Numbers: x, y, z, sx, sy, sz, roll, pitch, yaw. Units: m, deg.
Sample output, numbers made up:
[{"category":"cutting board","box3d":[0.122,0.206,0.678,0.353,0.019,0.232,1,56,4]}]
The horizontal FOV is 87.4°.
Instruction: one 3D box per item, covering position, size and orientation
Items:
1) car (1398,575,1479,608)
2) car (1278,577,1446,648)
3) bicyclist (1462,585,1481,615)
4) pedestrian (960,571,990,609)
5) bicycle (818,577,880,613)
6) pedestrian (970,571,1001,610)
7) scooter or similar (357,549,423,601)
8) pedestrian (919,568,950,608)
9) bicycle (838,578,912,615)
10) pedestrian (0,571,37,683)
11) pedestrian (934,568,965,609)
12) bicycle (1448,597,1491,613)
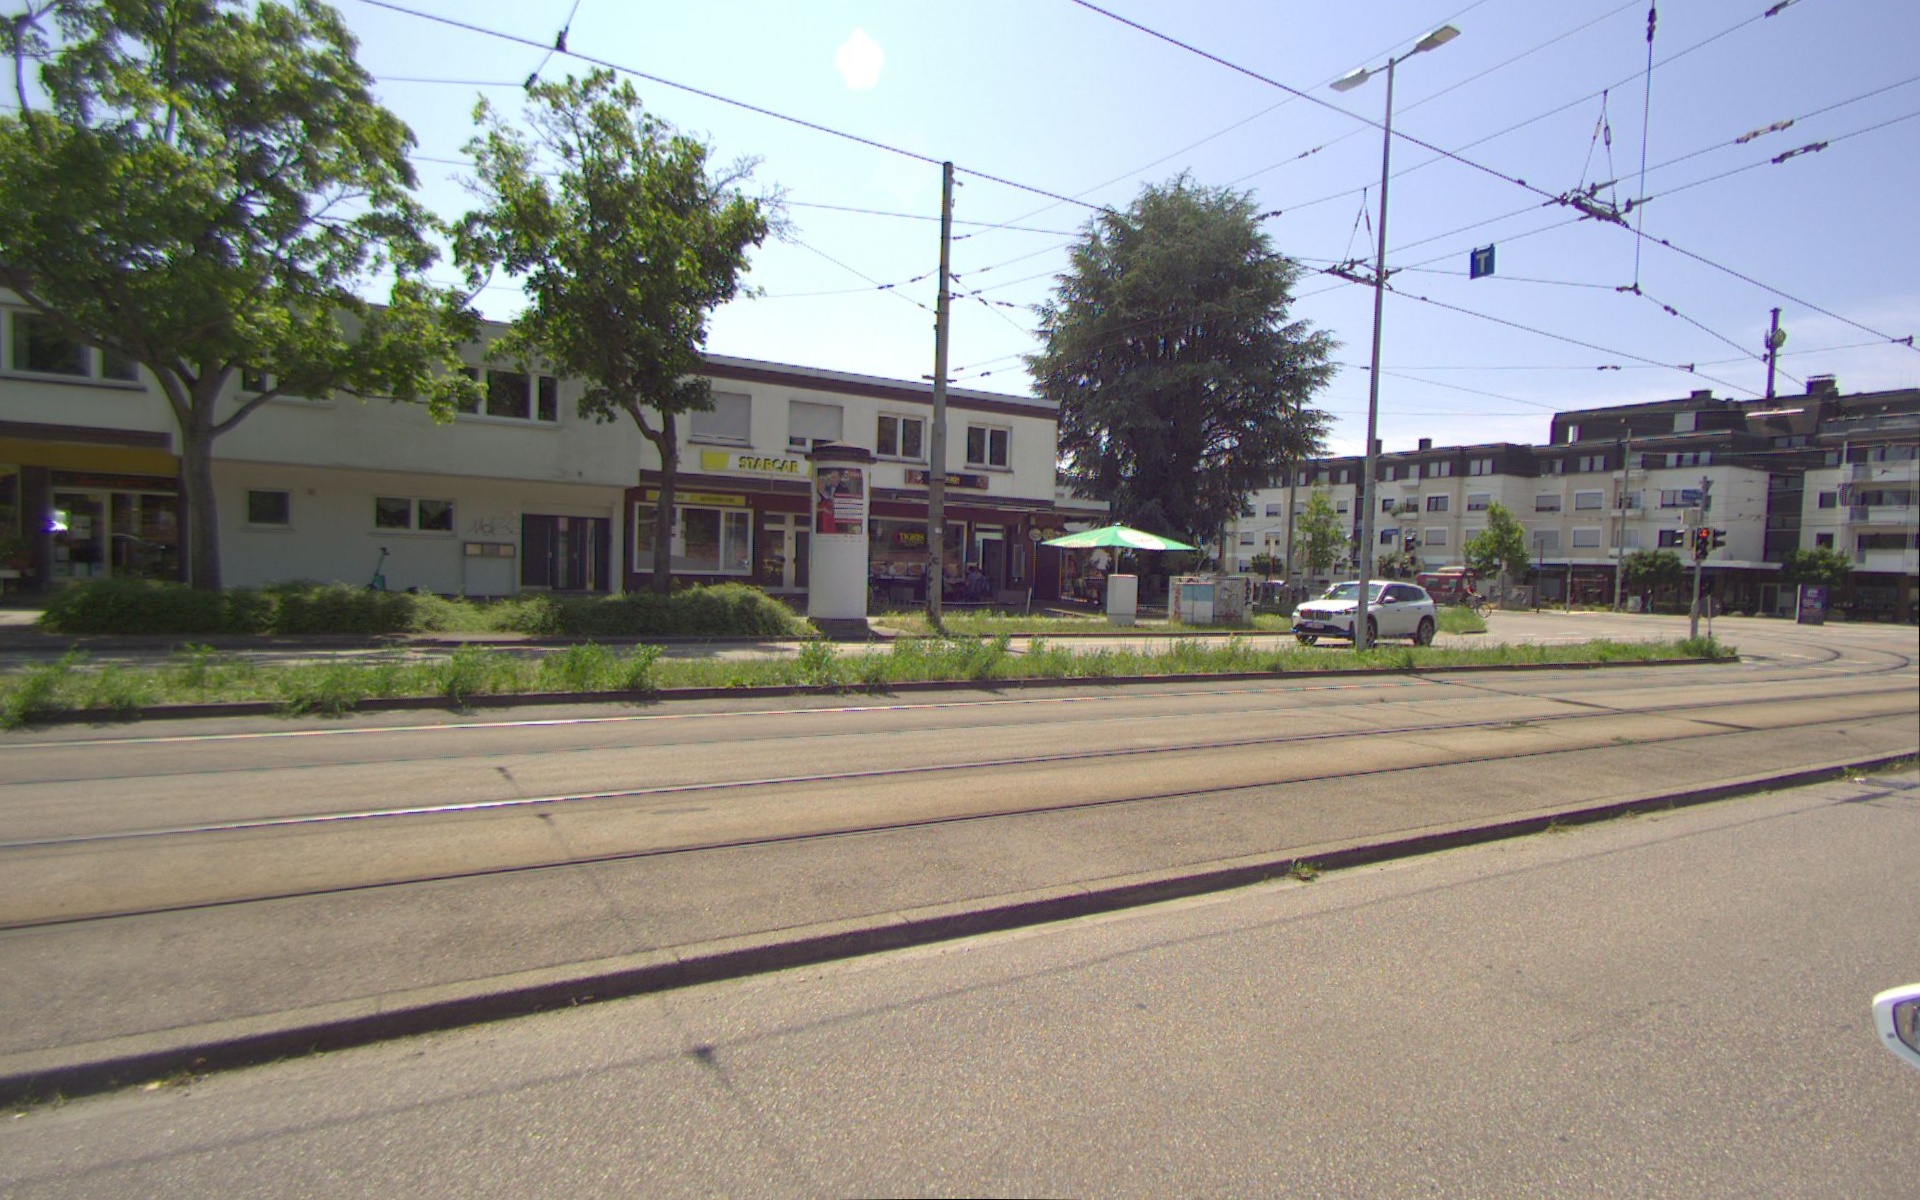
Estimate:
[{"category":"car","box3d":[35.758,-0.663,75.206,2.219,2.372,5.038,2,0,-31]},{"category":"car","box3d":[10.089,0.341,25.102,4.525,1.631,1.712,2,0,-36]},{"category":"bicyclist","box3d":[26.928,0.007,52.883,0.741,1.521,0.480,2,1,39]},{"category":"pedestrian","box3d":[0.509,-0.340,34.322,0.832,1.285,0.586,2,0,-30]},{"category":"bicycle","box3d":[-3.241,-0.132,29.393,1.738,0.992,0.536,2,0,-30]},{"category":"pedestrian","box3d":[0.867,-0.321,33.727,0.832,1.285,0.586,2,0,-30]},{"category":"scooter or similar","box3d":[-14.002,-0.605,24.692,1.321,1.207,0.455,2,0,-10]},{"category":"pedestrian","box3d":[-0.863,-0.406,33.585,0.832,1.285,0.586,2,0,-30]},{"category":"bicycle","box3d":[-2.388,-0.094,28.354,2.006,0.992,0.607,2,0,-30]},{"category":"pedestrian","box3d":[-19.734,0.431,18.259,3.954,2.040,1.983,2,0,-31]},{"category":"pedestrian","box3d":[-0.348,-0.377,33.075,0.832,1.285,0.586,2,0,-30]},{"category":"bicycle","box3d":[26.815,0.247,52.873,1.956,0.794,0.464,2,0,40]}]
